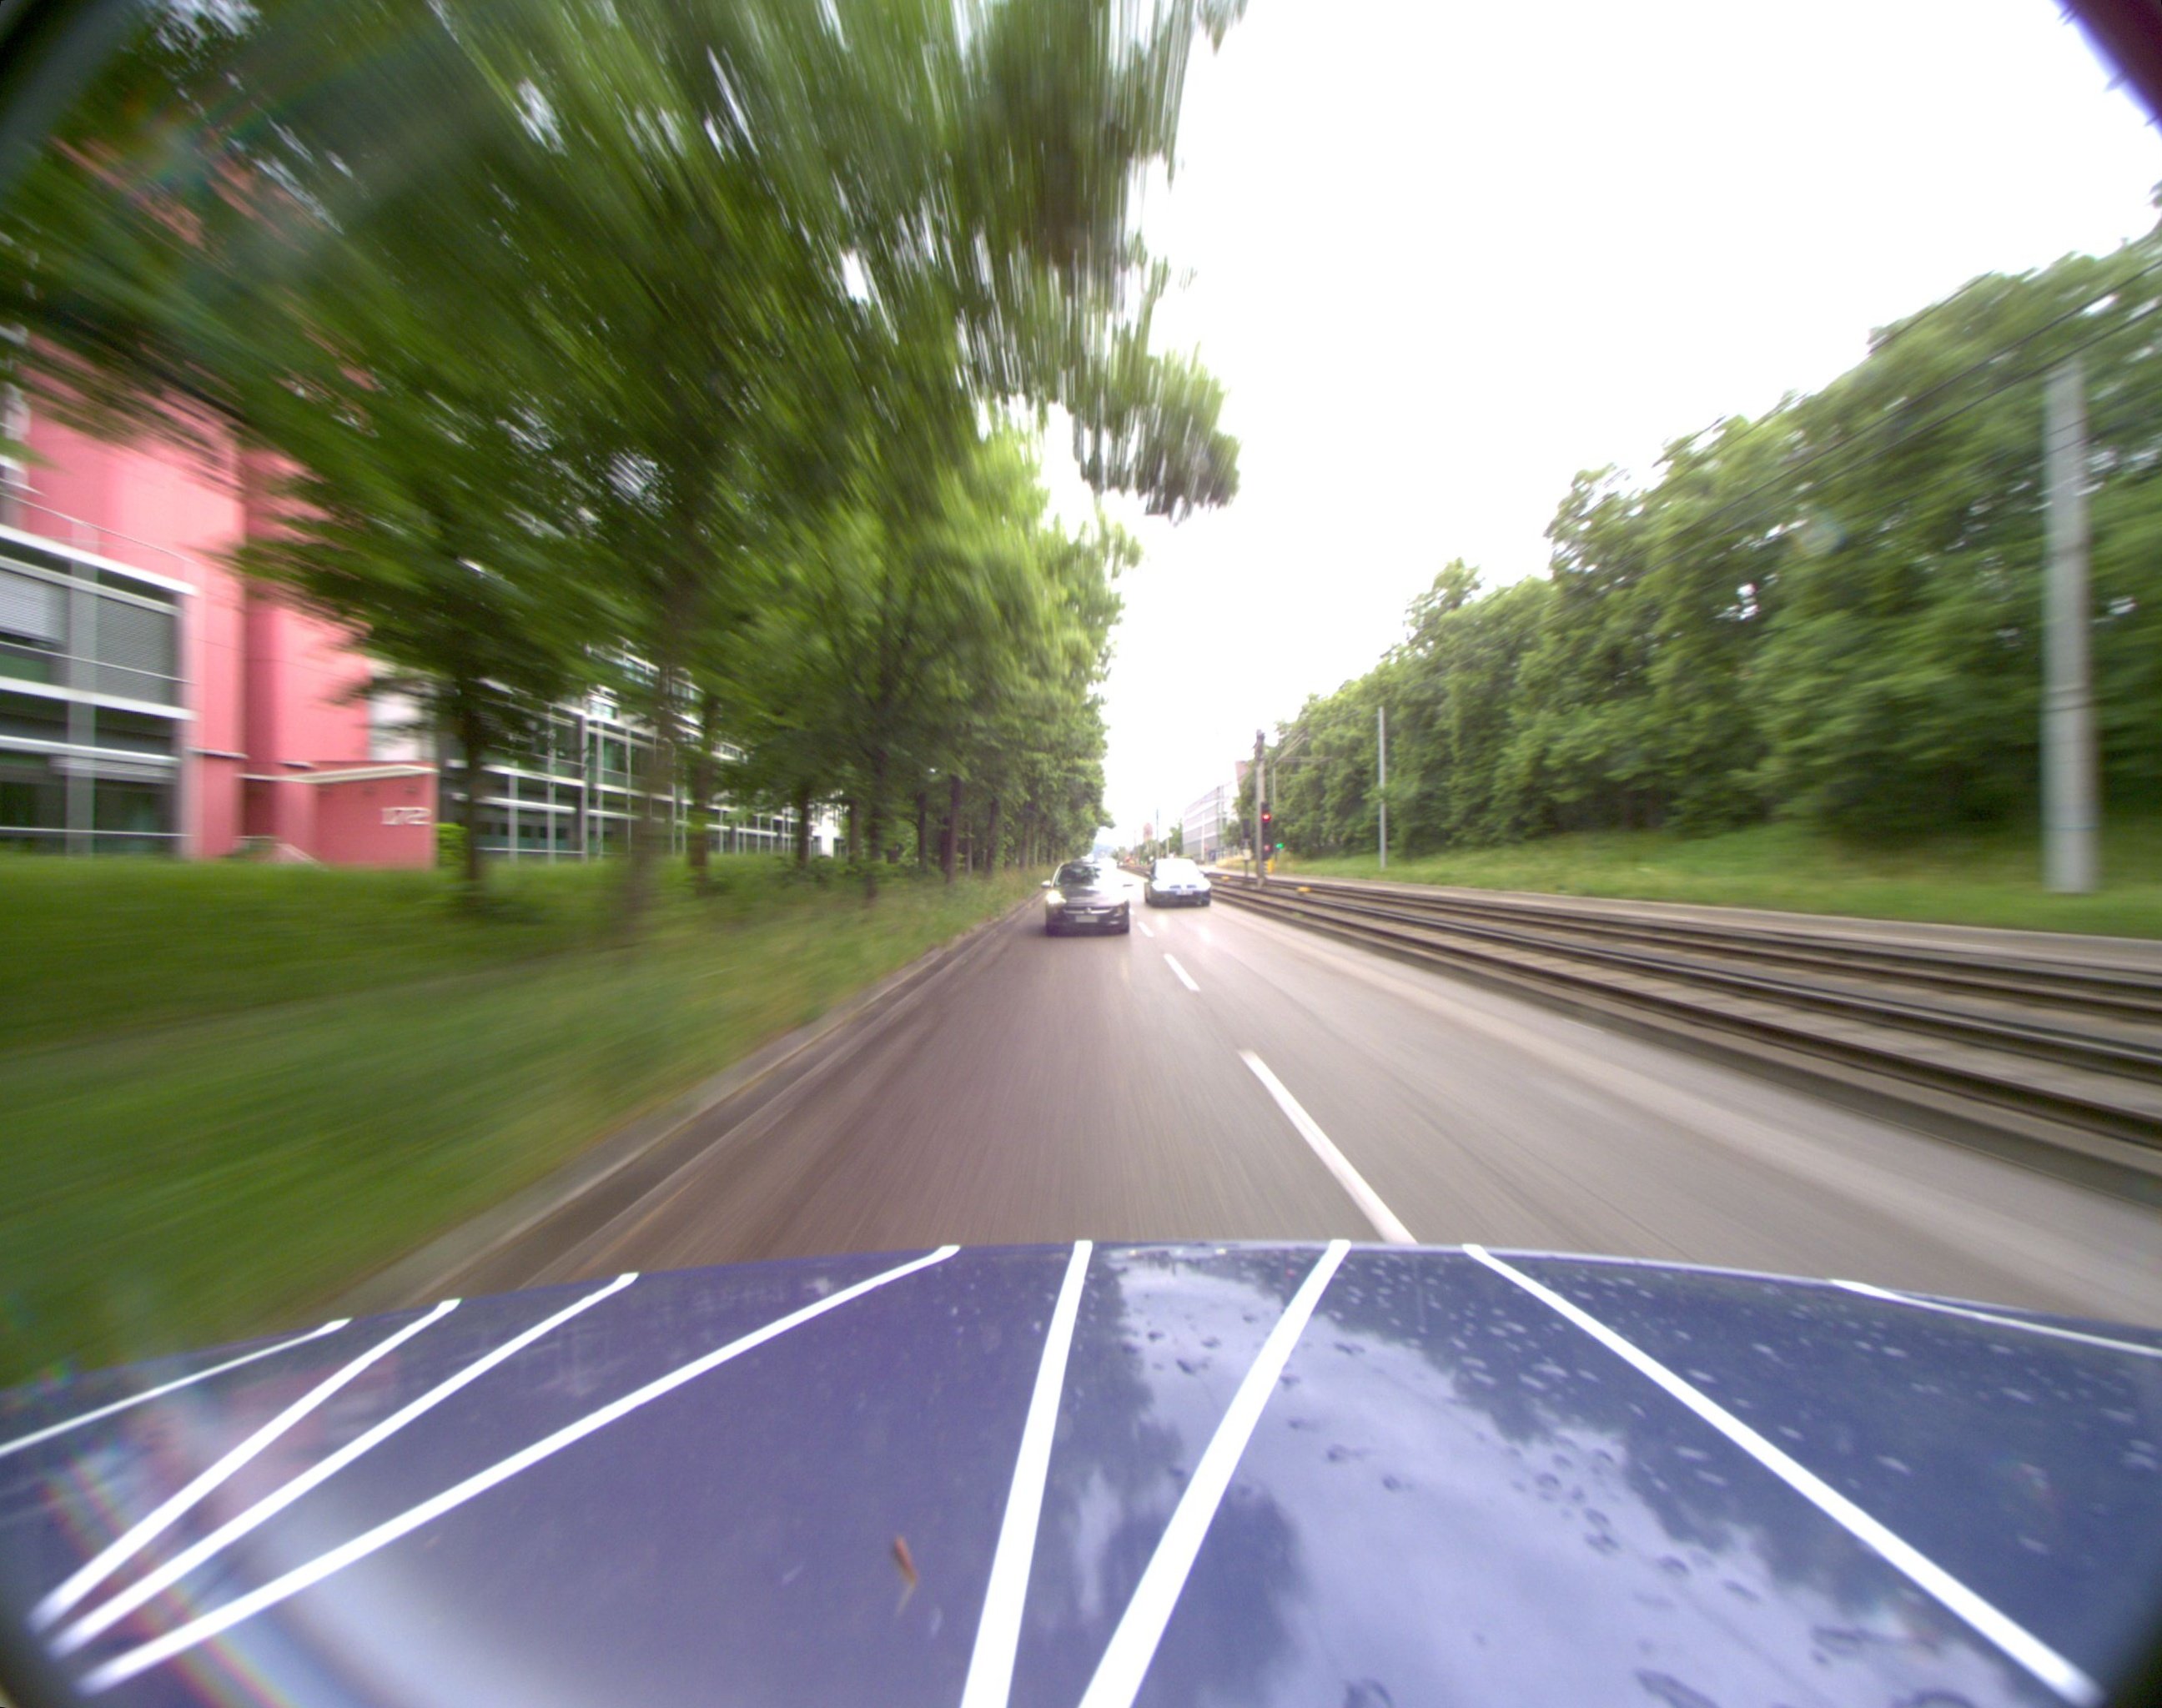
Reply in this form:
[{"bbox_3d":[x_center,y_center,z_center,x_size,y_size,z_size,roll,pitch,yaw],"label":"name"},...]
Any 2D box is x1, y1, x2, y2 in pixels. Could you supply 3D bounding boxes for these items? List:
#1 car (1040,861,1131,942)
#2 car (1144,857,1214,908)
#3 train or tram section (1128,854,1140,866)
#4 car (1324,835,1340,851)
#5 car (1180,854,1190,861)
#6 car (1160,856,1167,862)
[{"bbox_3d":[0.156,0.935,16.819,1.698,1.439,4.421,-2,0,2],"label":"car"},{"bbox_3d":[3.035,0.847,24.247,1.770,1.439,3.833,-1,0,1],"label":"car"},{"bbox_3d":[16.999,1.976,245.208,2.975,3.788,19.523,-1,-1,1],"label":"train or tram section"},{"bbox_3d":[33.981,-1.468,103.014,1.963,2.002,4.222,-1,0,17],"label":"car"},{"bbox_3d":[19.757,0.645,144.234,1.480,1.427,3.909,1,0,1],"label":"car"},{"bbox_3d":[22.883,1.462,210.677,1.657,1.520,4.381,0,0,1],"label":"car"}]
